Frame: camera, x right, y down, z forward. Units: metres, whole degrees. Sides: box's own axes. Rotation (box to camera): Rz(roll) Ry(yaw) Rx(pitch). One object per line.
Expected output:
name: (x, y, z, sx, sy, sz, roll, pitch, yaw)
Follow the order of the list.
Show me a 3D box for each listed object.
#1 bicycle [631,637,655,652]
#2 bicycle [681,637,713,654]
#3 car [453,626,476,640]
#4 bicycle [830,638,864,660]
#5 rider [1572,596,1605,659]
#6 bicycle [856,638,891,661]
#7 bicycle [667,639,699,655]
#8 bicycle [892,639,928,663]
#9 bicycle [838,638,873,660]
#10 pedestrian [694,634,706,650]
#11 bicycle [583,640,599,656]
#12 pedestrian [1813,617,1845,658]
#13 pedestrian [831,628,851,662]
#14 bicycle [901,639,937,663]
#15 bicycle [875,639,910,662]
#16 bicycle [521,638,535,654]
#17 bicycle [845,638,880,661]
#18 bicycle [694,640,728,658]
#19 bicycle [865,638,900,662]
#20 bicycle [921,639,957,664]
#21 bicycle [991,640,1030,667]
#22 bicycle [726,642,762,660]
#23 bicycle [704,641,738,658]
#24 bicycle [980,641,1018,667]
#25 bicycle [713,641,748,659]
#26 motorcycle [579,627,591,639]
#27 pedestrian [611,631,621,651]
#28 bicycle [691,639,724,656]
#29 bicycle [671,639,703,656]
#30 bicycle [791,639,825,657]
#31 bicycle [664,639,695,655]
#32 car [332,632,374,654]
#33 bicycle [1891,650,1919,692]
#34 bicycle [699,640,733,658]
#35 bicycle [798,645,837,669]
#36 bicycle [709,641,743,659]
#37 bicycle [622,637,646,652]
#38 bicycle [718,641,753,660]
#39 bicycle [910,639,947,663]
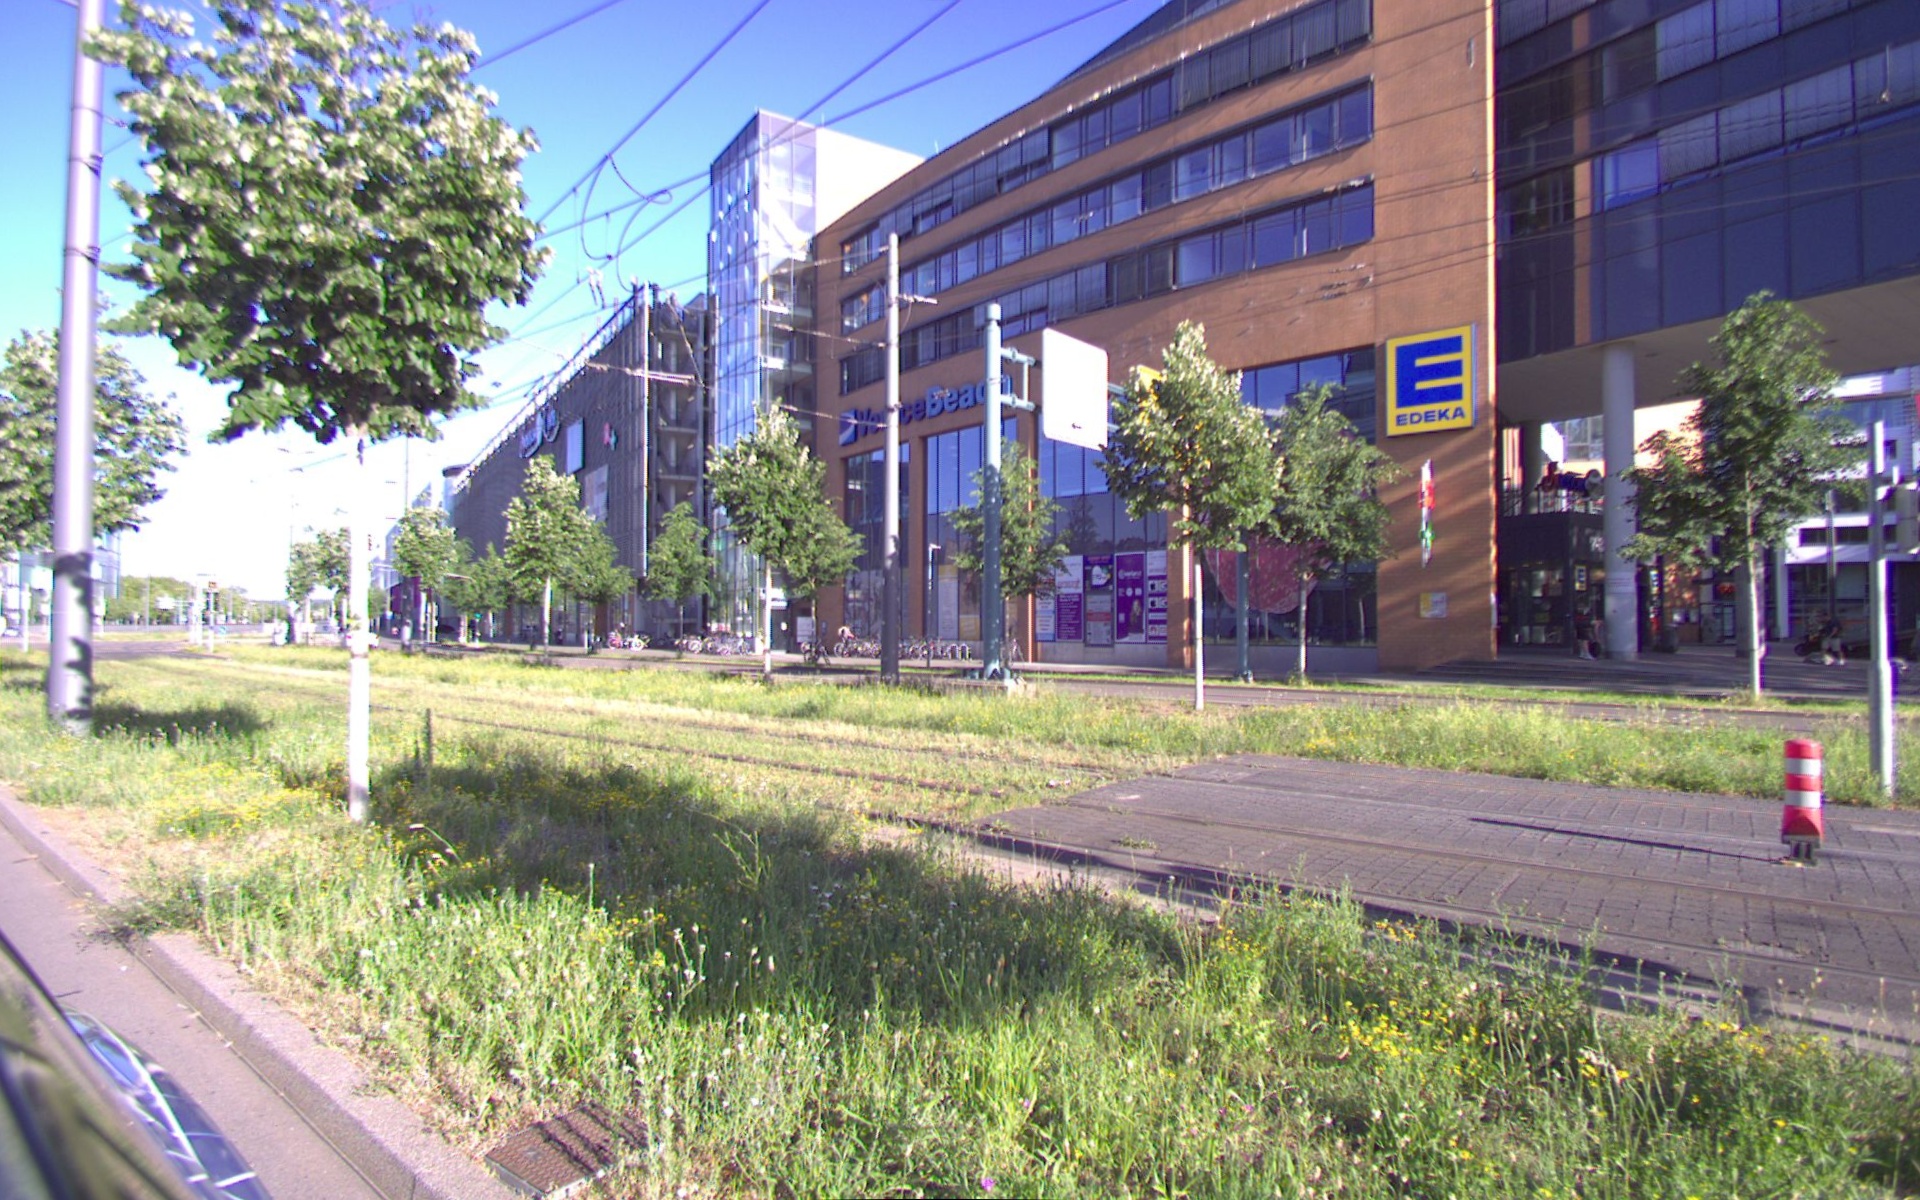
bicycle: (-20.028, 2.808, 63.865, 1.377, 0.933, 0.463, 1, -2, -34)
bicycle: (-15.112, 2.620, 58.202, 1.742, 0.933, 0.492, 1, -2, -34)
car: (-56.481, 3.745, 115.375, 1.560, 1.541, 3.758, -1, 0, -38)
bicycle: (-5.620, 2.419, 50.251, 1.744, 1.057, 0.491, 1, -2, -43)
rider: (18.709, 0.818, 30.118, 0.712, 1.816, 0.710, -2, -2, 41)
bicycle: (-4.162, 2.387, 48.738, 1.744, 1.057, 0.491, 1, -2, -43)
bicycle: (-16.324, 2.773, 59.688, 1.742, 0.933, 0.492, 1, -2, -34)
bicycle: (-2.303, 2.346, 46.705, 1.744, 1.057, 0.491, 1, -2, -43)
bicycle: (-5.142, 2.409, 49.765, 1.744, 1.057, 0.491, 1, -2, -43)
pedestrian: (-16.732, 2.709, 65.211, 0.619, 1.063, 0.450, 1, -2, -38)
bicycle: (-21.413, 2.761, 58.724, 0.380, 0.875, 1.775, 1, -2, -37)
pedestrian: (36.931, 1.587, 43.025, 0.778, 1.720, 0.810, -1, -1, -33)
pedestrian: (-5.984, 2.267, 50.770, 0.736, 1.681, 0.676, 1, -2, -44)
bicycle: (-1.847, 2.335, 46.195, 1.744, 1.057, 0.491, 1, -2, -43)
bicycle: (-3.168, 2.365, 47.706, 1.744, 1.057, 0.491, 1, -2, -43)
bicycle: (-26.147, 2.804, 61.258, 0.380, 0.930, 1.775, 1, -2, -37)
bicycle: (-4.737, 2.400, 49.338, 1.744, 1.057, 0.491, 1, -2, -43)
bicycle: (-13.895, 2.715, 56.446, 1.742, 0.933, 0.566, 1, -2, -34)
bicycle: (-3.667, 2.376, 48.250, 1.744, 1.057, 0.491, 1, -2, -43)
bicycle: (-0.935, 2.282, 45.206, 1.744, 1.057, 0.491, 1, -2, -43)
bicycle: (2.083, 2.201, 41.468, 1.744, 1.057, 0.491, 1, -2, -43)
bicycle: (-11.249, 2.651, 52.625, 1.742, 0.933, 0.566, 1, -2, -34)
bicycle: (-13.047, 2.695, 55.311, 1.742, 0.933, 0.566, 1, -2, -34)
bicycle: (1.607, 2.223, 41.943, 1.744, 1.057, 0.491, 1, -2, -43)
bicycle: (-12.286, 2.676, 54.101, 1.742, 0.933, 0.566, 1, -2, -34)
motorcycle: (-30.564, 2.704, 82.492, 0.421, 0.927, 2.030, 1, -2, -34)
pedestrian: (-22.851, 2.717, 67.266, 0.442, 1.299, 0.631, 1, -2, -37)
bicycle: (-14.224, 2.650, 57.072, 1.742, 0.933, 0.492, 1, -2, -34)
bicycle: (-15.943, 2.764, 59.104, 1.742, 0.933, 0.566, 1, -2, -34)
bicycle: (-8.075, 2.555, 53.775, 1.742, 0.933, 0.566, 1, -2, -34)
bicycle: (-16.688, 2.774, 60.254, 1.742, 0.933, 0.492, 1, -2, -34)
car: (-38.347, 2.713, 63.865, 1.782, 1.338, 4.414, 2, -2, -37)
bicycle: (22.009, 1.581, 22.474, 1.885, 0.917, 0.493, -2, -2, 38)
bicycle: (-13.482, 2.705, 55.859, 1.742, 0.933, 0.566, 1, -2, -34)
bicycle: (-5.581, 2.224, 39.681, 1.770, 0.875, 0.458, -1, -2, 41)
bicycle: (-12.653, 2.686, 54.735, 1.742, 0.933, 0.566, 1, -2, -34)
bicycle: (-20.935, 2.828, 64.926, 1.377, 0.933, 0.463, 1, -2, -34)
bicycle: (-11.861, 2.666, 53.426, 1.742, 0.933, 0.566, 1, -2, -34)
bicycle: (-1.420, 2.293, 45.687, 1.744, 1.057, 0.491, 1, -2, -43)
